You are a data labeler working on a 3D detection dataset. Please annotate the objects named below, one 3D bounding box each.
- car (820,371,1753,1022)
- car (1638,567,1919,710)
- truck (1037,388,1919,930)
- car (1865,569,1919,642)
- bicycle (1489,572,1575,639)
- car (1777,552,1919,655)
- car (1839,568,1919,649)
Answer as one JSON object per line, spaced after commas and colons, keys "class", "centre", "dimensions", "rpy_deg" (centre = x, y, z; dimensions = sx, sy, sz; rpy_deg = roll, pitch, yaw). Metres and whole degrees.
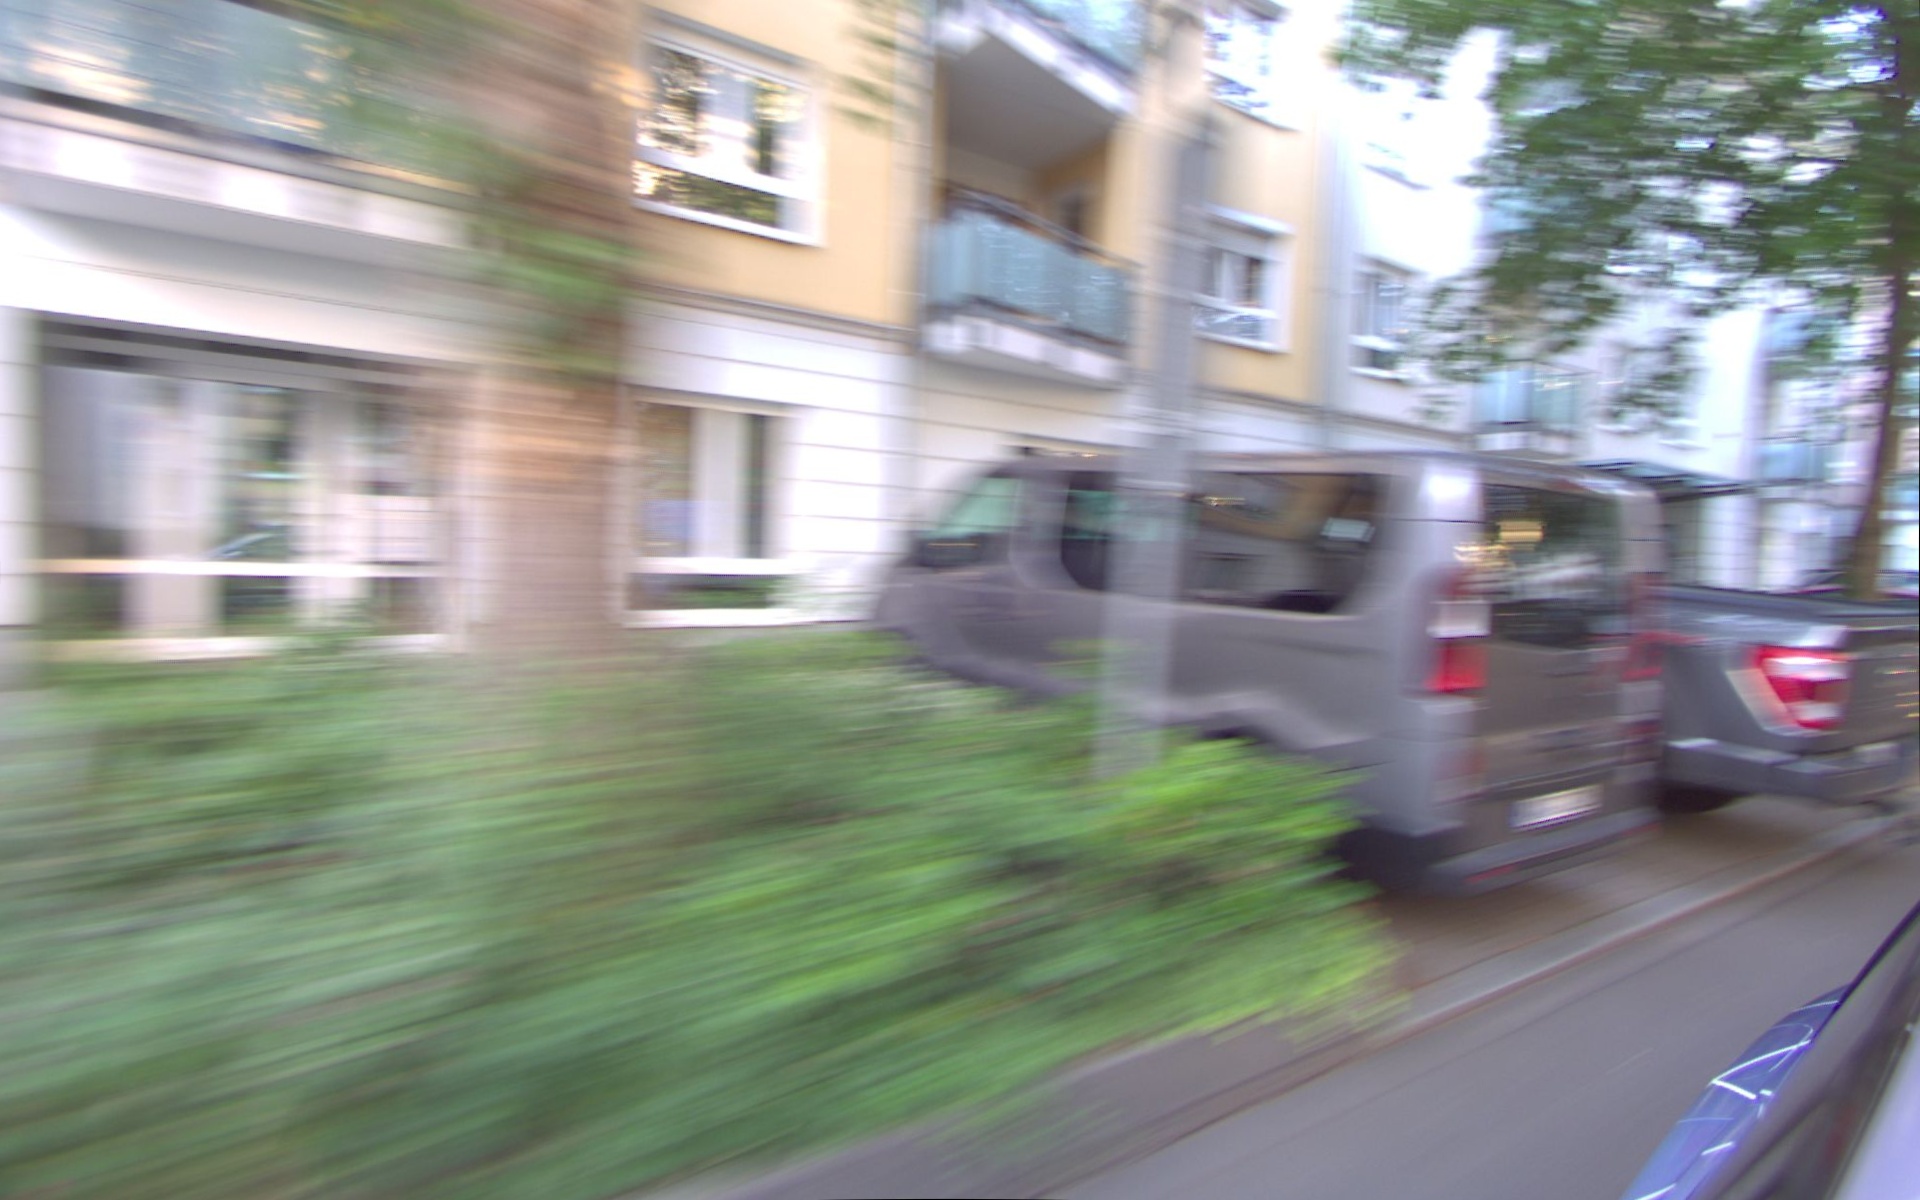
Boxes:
{"class": "car", "centre": [1.266, 0.185, 5.750], "dimensions": [2.156, 2.091, 4.617], "rpy_deg": [0, 3, -36]}
{"class": "car", "centre": [11.121, 0.421, 12.818], "dimensions": [1.842, 1.563, 3.789], "rpy_deg": [0, 3, -36]}
{"class": "truck", "centre": [3.268, 0.109, 7.428], "dimensions": [2.170, 2.339, 5.911], "rpy_deg": [0, 3, -34]}
{"class": "car", "centre": [21.866, 0.293, 20.722], "dimensions": [1.762, 1.485, 4.619], "rpy_deg": [0, 6, -35]}
{"class": "bicycle", "centre": [9.452, 0.085, 16.703], "dimensions": [1.846, 1.049, 0.425], "rpy_deg": [0, 4, -35]}
{"class": "car", "centre": [17.656, 0.166, 17.820], "dimensions": [1.973, 1.636, 4.659], "rpy_deg": [0, 6, -38]}
{"class": "car", "centre": [19.822, 0.332, 19.235], "dimensions": [1.892, 1.455, 4.245], "rpy_deg": [0, 6, -33]}
